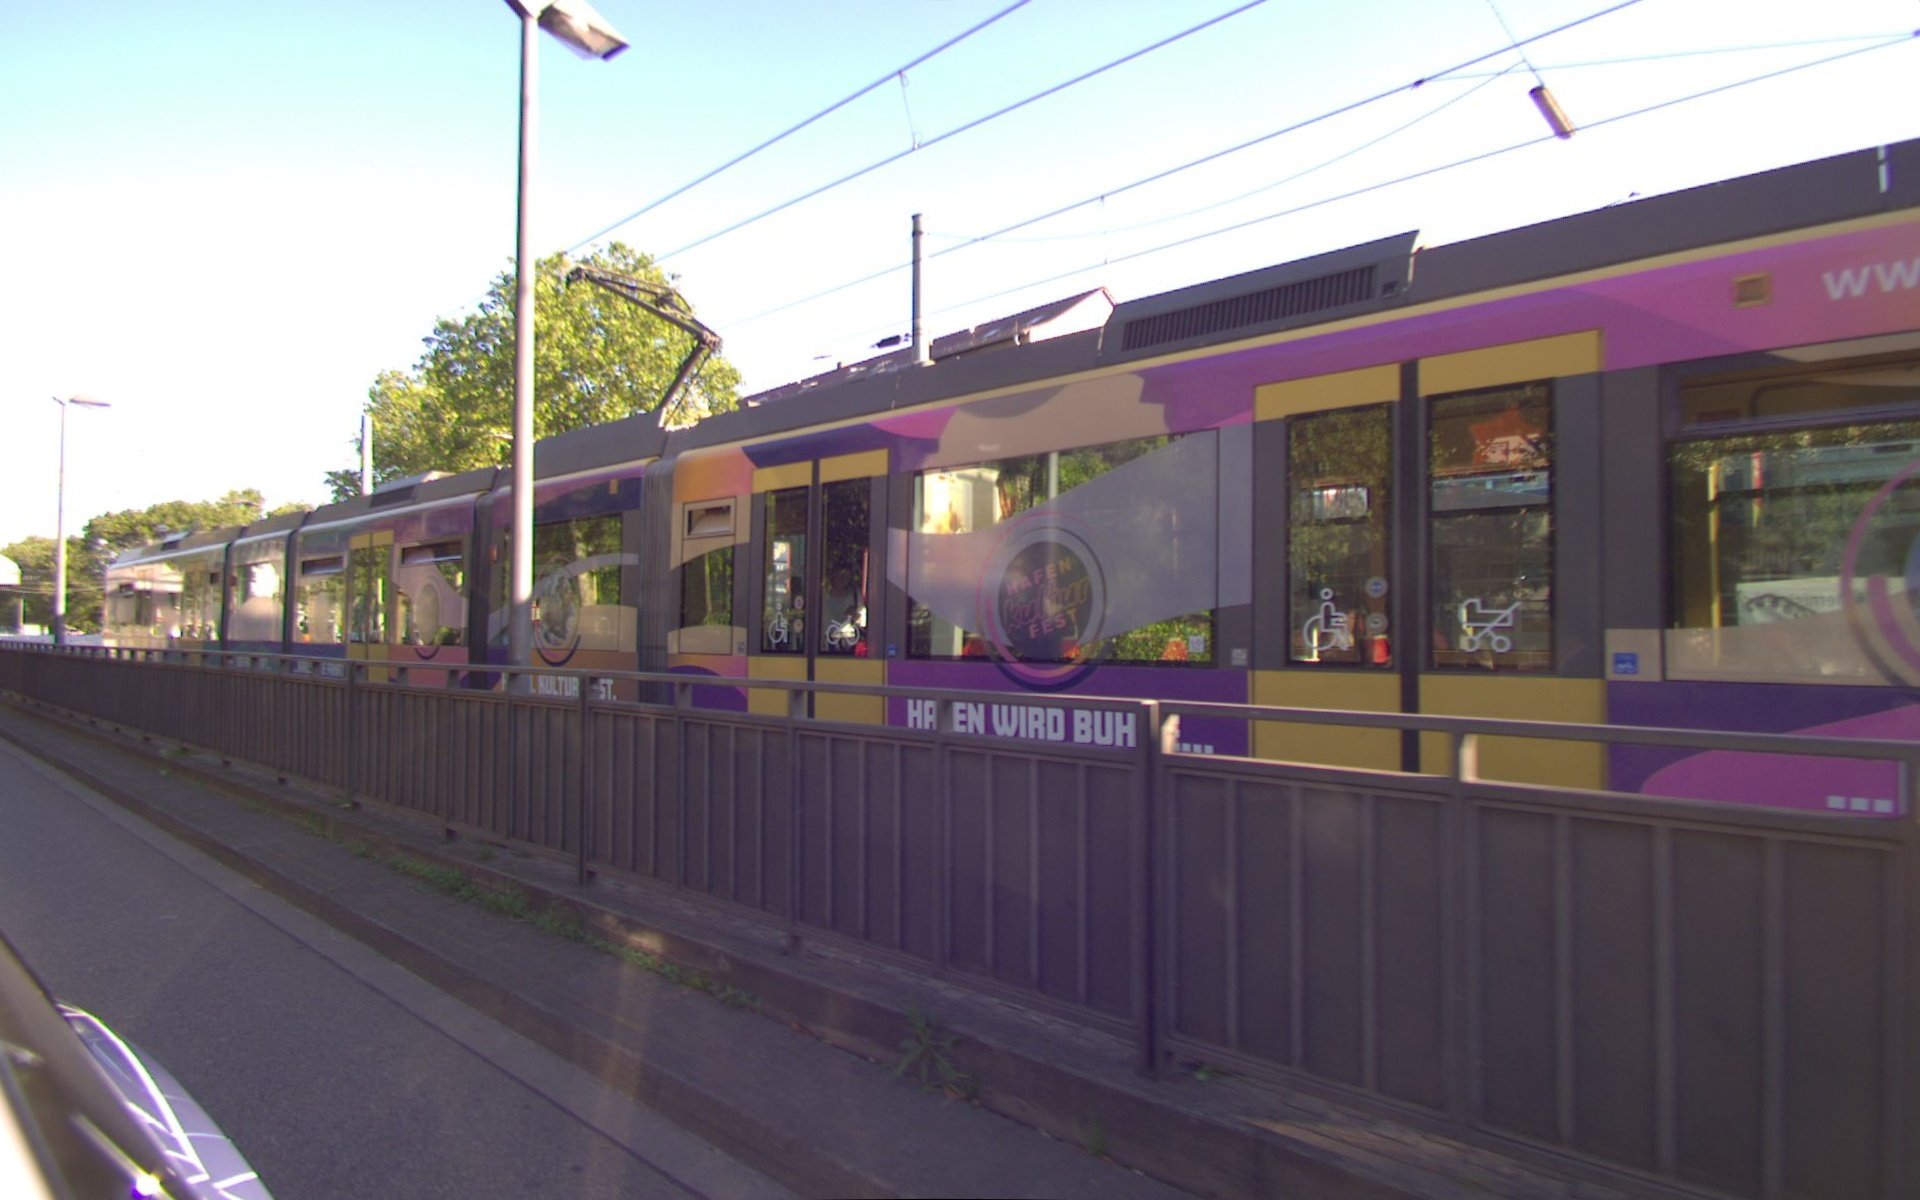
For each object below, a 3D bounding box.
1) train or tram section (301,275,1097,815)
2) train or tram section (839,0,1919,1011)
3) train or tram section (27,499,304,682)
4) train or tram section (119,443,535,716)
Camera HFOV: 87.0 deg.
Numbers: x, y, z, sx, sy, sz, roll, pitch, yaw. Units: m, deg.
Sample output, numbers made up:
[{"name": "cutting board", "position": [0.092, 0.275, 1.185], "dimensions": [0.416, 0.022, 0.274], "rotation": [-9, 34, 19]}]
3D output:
[{"name": "train or tram section", "position": [-3.628, -0.256, 11.019], "dimensions": [10.088, 3.544, 3.005], "rotation": [-1, -3, 40]}, {"name": "train or tram section", "position": [4.064, -0.359, 4.580], "dimensions": [10.088, 3.544, 3.005], "rotation": [-1, -3, 40]}, {"name": "train or tram section", "position": [-19.104, -0.060, 23.983], "dimensions": [10.088, 3.544, 3.005], "rotation": [-1, -3, 40]}, {"name": "train or tram section", "position": [-11.356, -0.153, 17.499], "dimensions": [10.088, 3.544, 3.005], "rotation": [-1, -3, 40]}]
